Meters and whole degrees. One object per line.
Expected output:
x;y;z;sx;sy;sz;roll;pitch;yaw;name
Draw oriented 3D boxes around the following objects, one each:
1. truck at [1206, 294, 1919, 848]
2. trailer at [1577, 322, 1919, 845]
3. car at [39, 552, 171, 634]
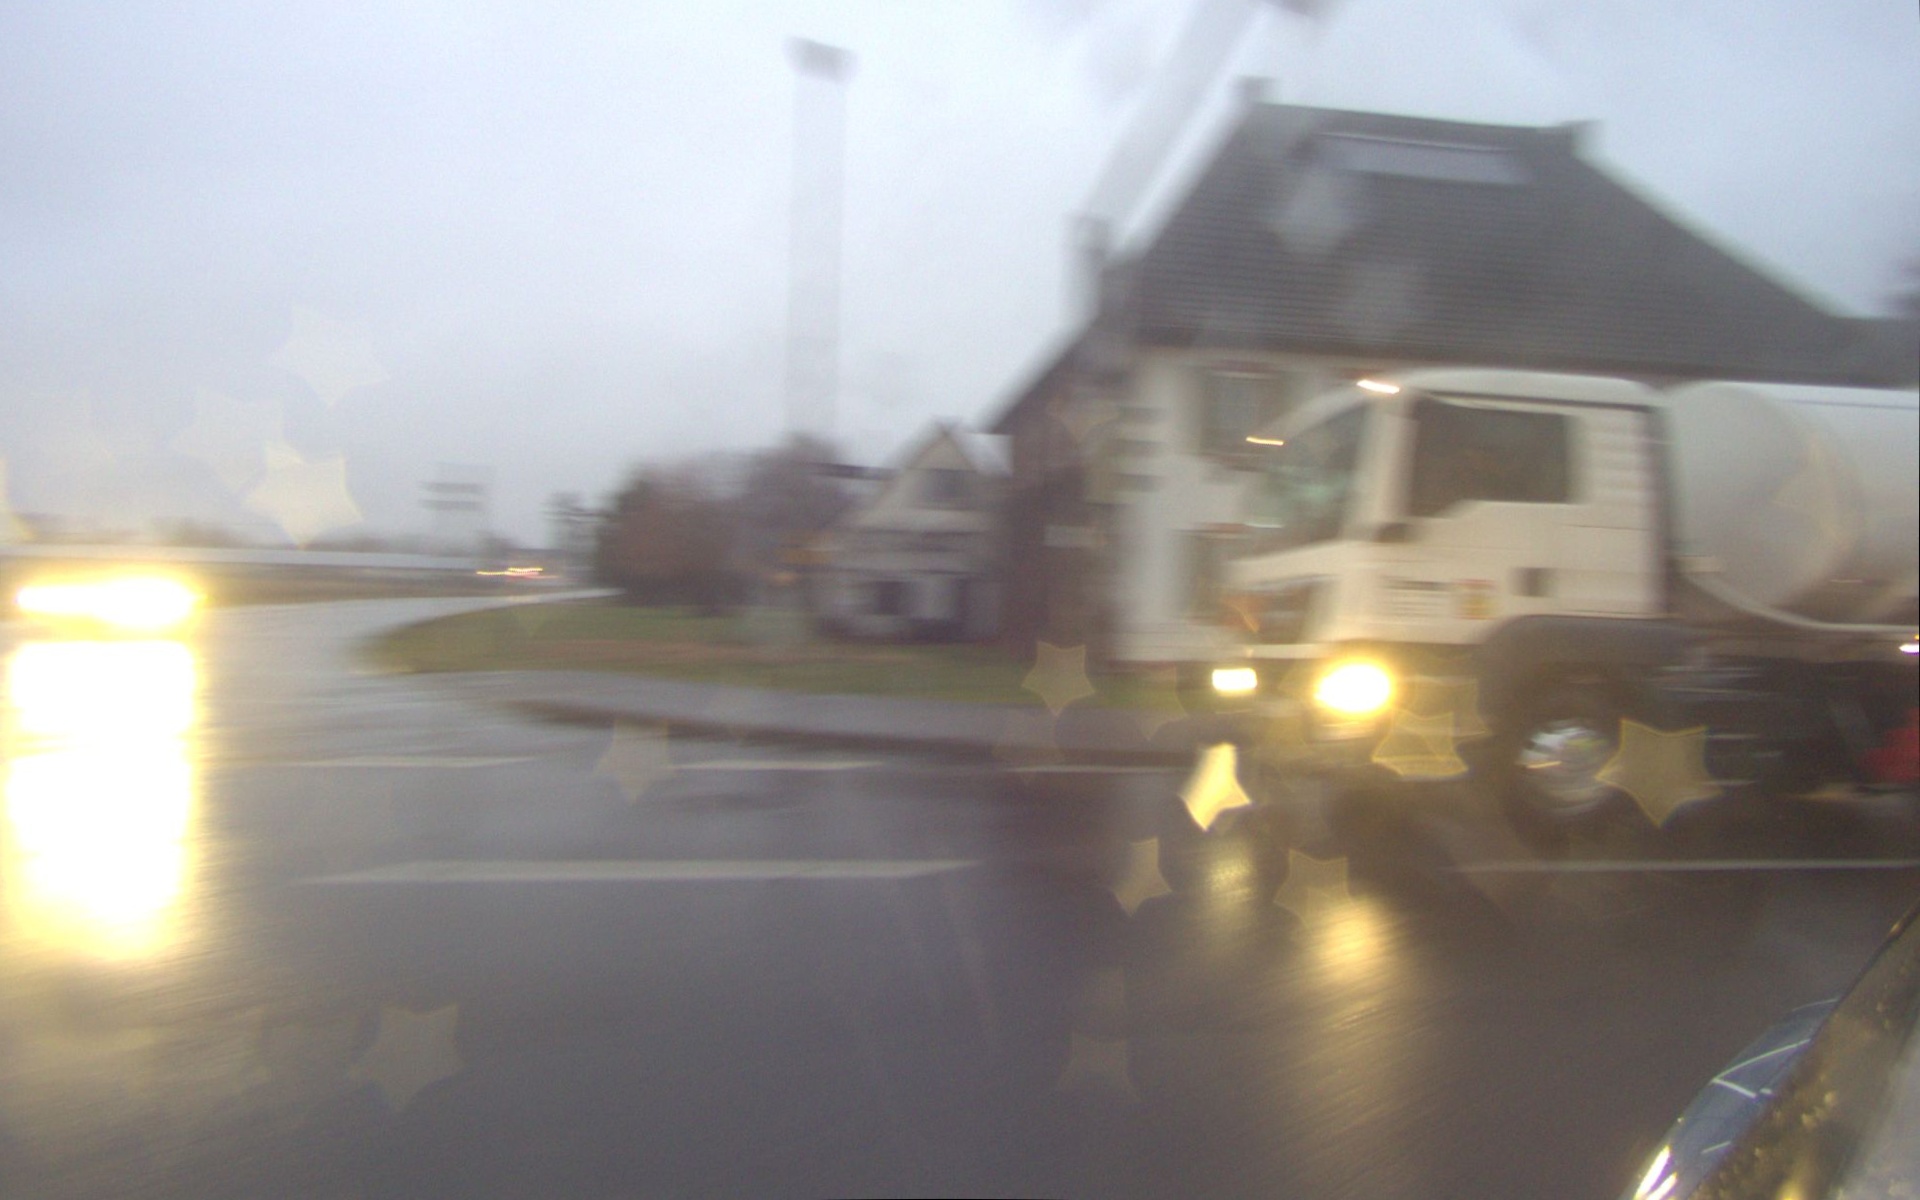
5.276;-0.116;7.552;6.145;3.271;2.473;1;0;-7;truck
10.848;-0.003;8.193;10.648;3.282;2.499;1;0;-6;trailer
-19.528;-0.171;23.280;1.783;1.710;3.919;2;0;-33;car
